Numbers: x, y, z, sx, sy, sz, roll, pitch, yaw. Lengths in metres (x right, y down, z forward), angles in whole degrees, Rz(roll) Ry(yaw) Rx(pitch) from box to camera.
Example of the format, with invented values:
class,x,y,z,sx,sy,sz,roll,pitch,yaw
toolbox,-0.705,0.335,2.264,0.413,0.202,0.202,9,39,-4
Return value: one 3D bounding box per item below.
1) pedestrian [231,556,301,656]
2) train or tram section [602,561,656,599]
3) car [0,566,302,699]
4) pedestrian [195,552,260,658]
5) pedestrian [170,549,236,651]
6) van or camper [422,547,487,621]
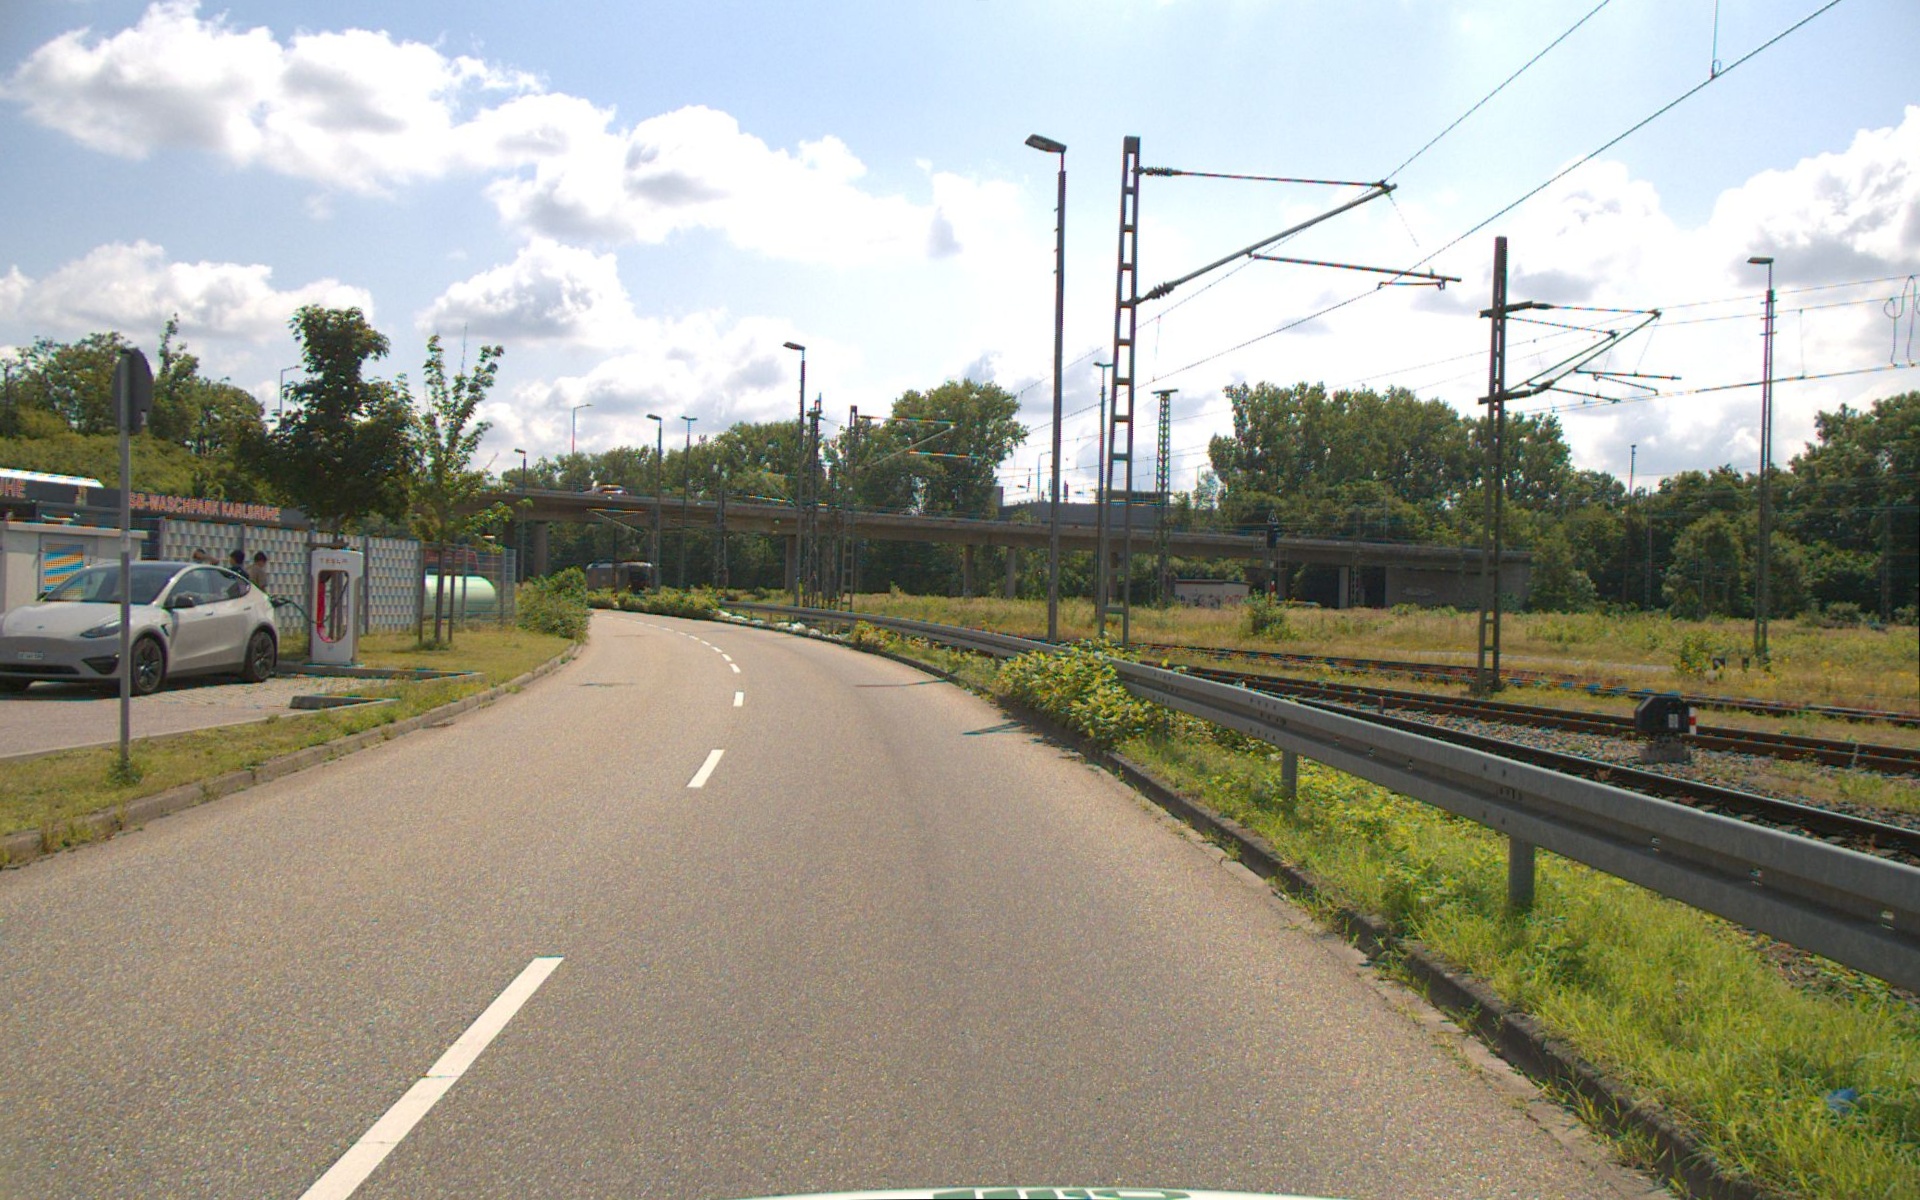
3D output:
class,x,y,z,sx,sy,sz,roll,pitch,yaw
pedestrian,-11.227,0.096,26.780,0.722,1.569,0.816,1,0,6
train or tram section,-31.798,-1.881,158.652,2.856,3.570,8.491,1,0,-27
car,-10.708,0.344,21.843,1.890,1.544,4.778,1,1,4
pedestrian,-11.343,0.082,25.623,0.716,1.607,0.702,1,-1,-43
pedestrian,-11.979,0.001,26.166,0.746,1.593,0.708,0,-1,44
van or camper,-18.561,-0.611,60.697,2.154,2.558,5.674,-1,1,-18
